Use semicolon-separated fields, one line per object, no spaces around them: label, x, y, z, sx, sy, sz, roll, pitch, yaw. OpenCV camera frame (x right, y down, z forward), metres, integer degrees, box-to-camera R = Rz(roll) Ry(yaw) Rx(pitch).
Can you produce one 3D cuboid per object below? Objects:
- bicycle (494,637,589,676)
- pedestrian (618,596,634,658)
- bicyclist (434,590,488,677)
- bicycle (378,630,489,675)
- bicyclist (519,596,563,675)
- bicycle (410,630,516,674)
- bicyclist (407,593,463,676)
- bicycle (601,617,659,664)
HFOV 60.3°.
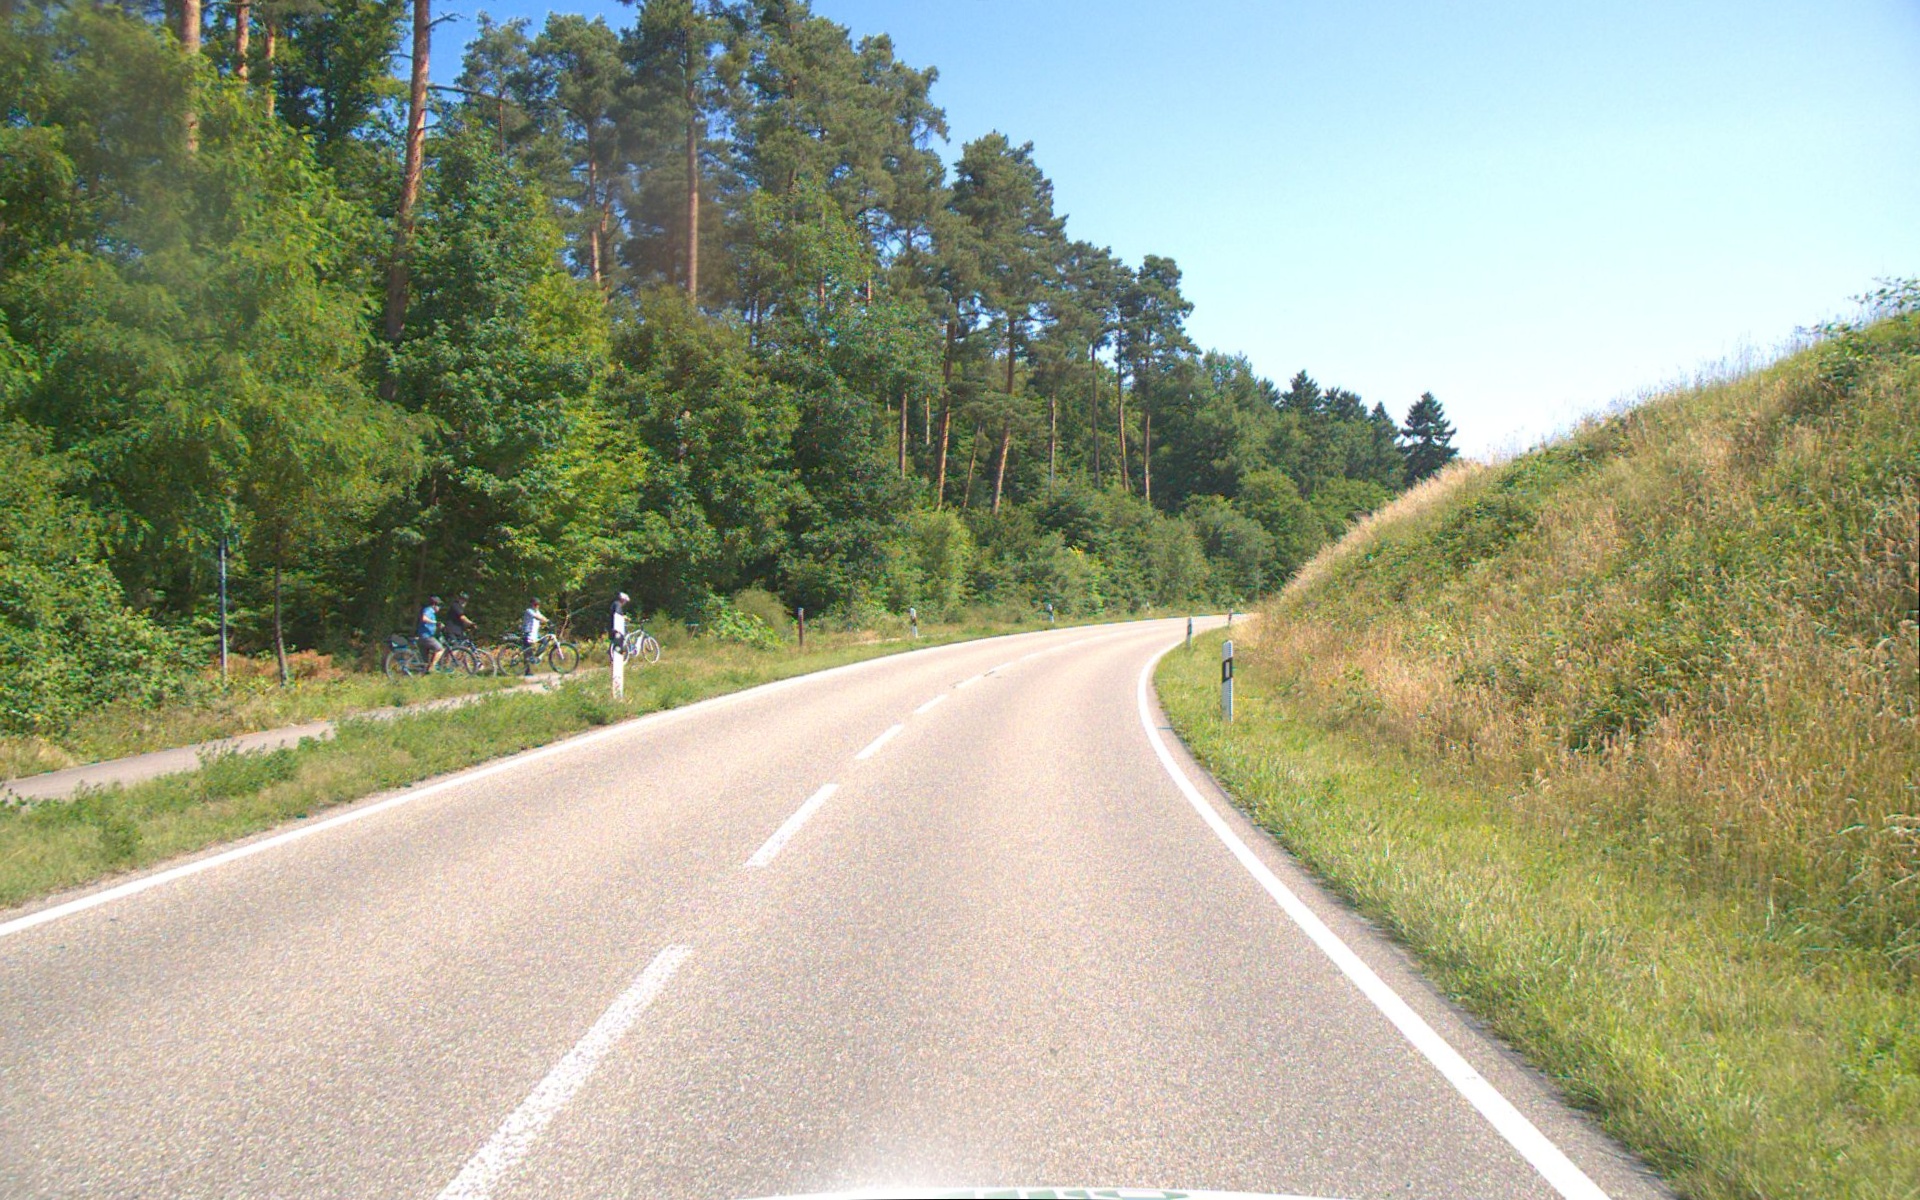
bicycle;-9.342;1.270;36.933;1.960;0.844;0.599;2;-1;-33
pedestrian;-8.427;0.680;41.728;0.278;1.565;0.390;-1;0;2
bicyclist;-10.027;0.670;33.258;0.842;1.730;0.597;2;-1;-40
bicycle;-10.150;0.999;31.949;1.966;0.844;0.597;1;0;-40
bicyclist;-9.346;0.789;36.917;0.779;1.749;0.599;2;-1;-33
bicycle;-9.962;1.047;33.180;1.966;0.844;0.597;2;-1;-40
bicyclist;-10.145;0.665;31.962;0.863;1.572;0.597;2;-1;-40
bicycle;-8.289;1.017;41.599;0.570;1.105;1.442;2;2;35
